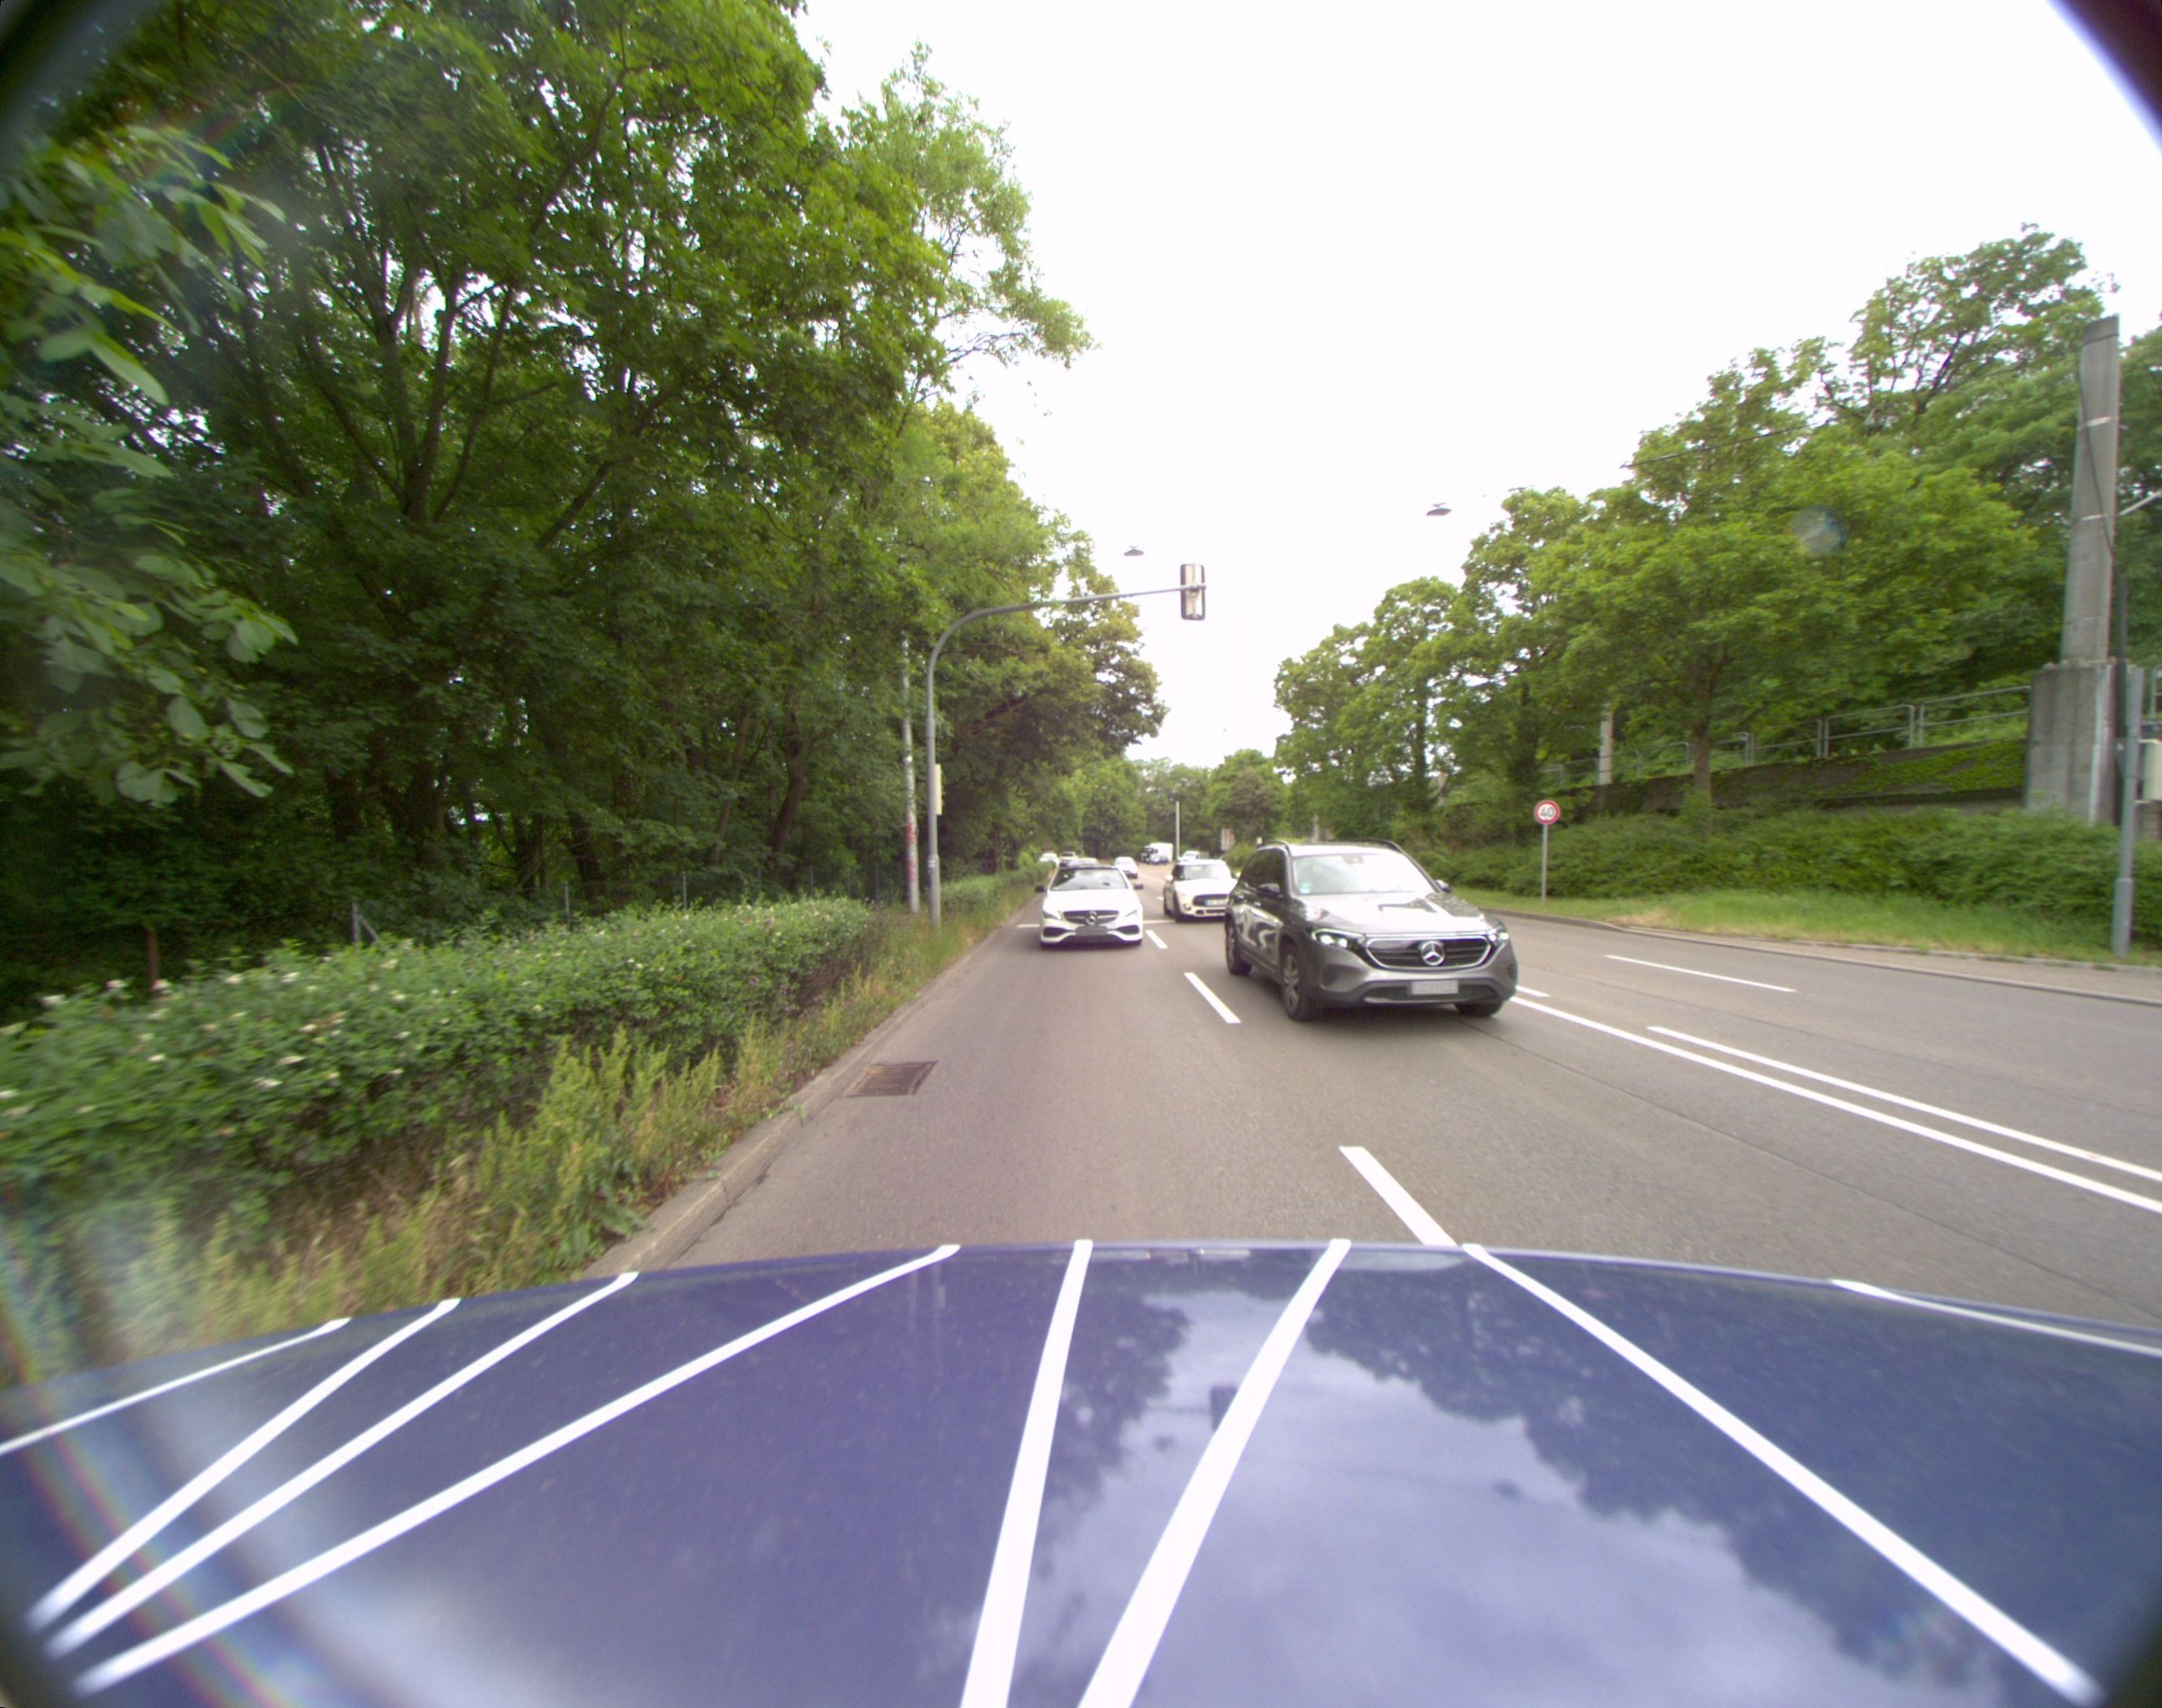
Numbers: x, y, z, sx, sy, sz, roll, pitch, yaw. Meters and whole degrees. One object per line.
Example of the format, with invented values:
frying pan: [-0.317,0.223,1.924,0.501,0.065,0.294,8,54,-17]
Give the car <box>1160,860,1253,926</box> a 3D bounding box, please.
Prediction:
car: [2.978,0.880,18.734,1.688,1.415,3.733,-1,0,1]

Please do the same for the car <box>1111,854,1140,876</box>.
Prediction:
car: [3.023,0.728,52.308,1.664,1.382,4.182,-1,0,-1]

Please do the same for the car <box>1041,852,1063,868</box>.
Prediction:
car: [-2.624,0.521,69.784,1.765,1.433,3.892,1,0,1]

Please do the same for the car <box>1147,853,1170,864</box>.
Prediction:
car: [11.079,0.673,108.996,1.761,1.433,3.900,2,0,31]

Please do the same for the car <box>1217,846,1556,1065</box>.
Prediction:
car: [2.715,0.772,7.968,1.854,1.641,4.357,-1,0,1]

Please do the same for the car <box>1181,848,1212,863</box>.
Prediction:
car: [17.287,0.209,113.174,2.280,2.187,6.471,-1,0,31]

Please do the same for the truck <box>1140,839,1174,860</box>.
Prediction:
truck: [11.702,-0.692,116.522,2.195,3.137,6.665,2,0,33]

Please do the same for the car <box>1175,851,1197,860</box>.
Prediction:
car: [17.347,0.244,125.332,1.751,1.354,4.019,4,1,35]

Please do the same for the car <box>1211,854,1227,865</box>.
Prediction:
car: [23.320,0.938,128.651,1.775,1.789,4.007,0,0,23]

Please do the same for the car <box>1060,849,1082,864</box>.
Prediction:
car: [-1.099,0.253,84.603,1.754,1.575,4.014,2,0,10]

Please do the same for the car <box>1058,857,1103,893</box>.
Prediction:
car: [0.032,0.896,34.189,1.755,1.417,4.010,3,1,2]

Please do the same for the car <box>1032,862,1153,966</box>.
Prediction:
car: [0.210,0.945,13.670,1.801,1.470,4.010,-2,0,1]
